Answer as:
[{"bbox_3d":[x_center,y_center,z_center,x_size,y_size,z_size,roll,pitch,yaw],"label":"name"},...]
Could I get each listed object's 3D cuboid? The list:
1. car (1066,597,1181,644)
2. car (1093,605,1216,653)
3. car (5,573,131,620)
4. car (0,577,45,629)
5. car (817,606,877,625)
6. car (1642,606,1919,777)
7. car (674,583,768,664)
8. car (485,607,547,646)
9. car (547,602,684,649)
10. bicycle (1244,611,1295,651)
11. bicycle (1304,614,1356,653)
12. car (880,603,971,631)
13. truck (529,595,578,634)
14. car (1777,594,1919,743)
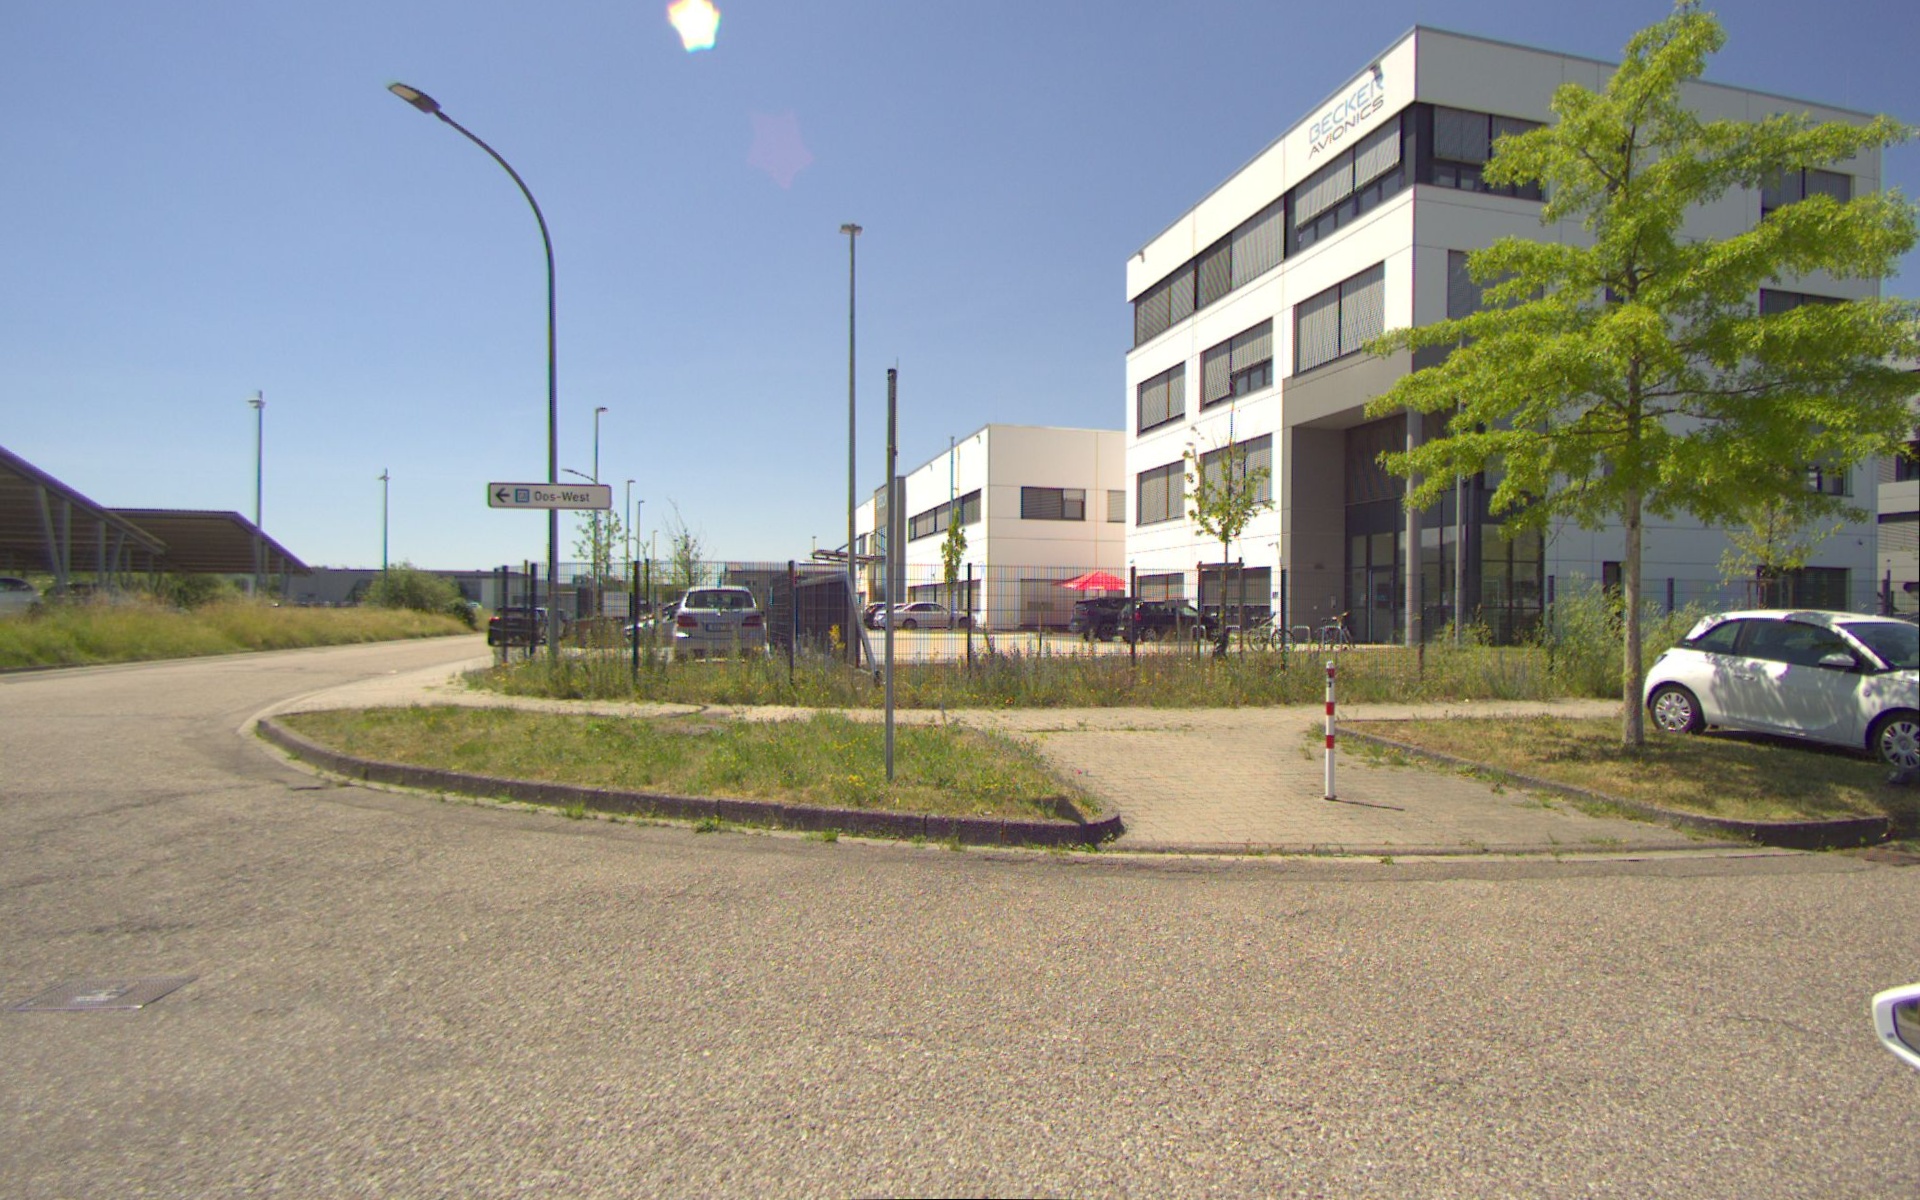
[{"bbox_3d":[6.137,0.775,37.878,3.934,1.706,1.776,0,0,-16],"label":"car"},{"bbox_3d":[6.852,1.017,35.506,3.934,1.624,1.776,0,0,-16],"label":"car"},{"bbox_3d":[-29.367,-0.089,33.210,1.696,1.455,3.762,0,-1,-18],"label":"car"},{"bbox_3d":[-27.627,0.087,28.003,1.696,1.455,3.762,0,-1,-18],"label":"car"},{"bbox_3d":[-8.119,1.119,72.180,4.095,1.357,1.776,0,0,-16],"label":"car"},{"bbox_3d":[9.234,0.847,10.258,1.698,1.460,3.505,0,1,-14],"label":"car"},{"bbox_3d":[-4.921,0.458,20.431,1.695,1.483,3.669,0,-1,-15],"label":"car"},{"bbox_3d":[-16.938,0.971,38.453,1.670,1.395,3.985,0,0,-17],"label":"car"},{"bbox_3d":[-11.788,0.859,34.639,4.330,1.535,1.694,0,0,-15],"label":"car"},{"bbox_3d":[7.971,0.789,25.927,0.454,0.995,1.592,0,0,-16],"label":"bicycle"},{"bbox_3d":[9.763,0.865,26.545,0.454,0.995,1.592,0,0,-16],"label":"bicycle"},{"bbox_3d":[-1.750,0.851,50.088,4.266,1.357,1.776,0,0,-16],"label":"car"},{"bbox_3d":[-22.491,0.773,55.746,2.133,2.040,5.076,0,0,-18],"label":"truck"},{"bbox_3d":[11.612,0.783,10.951,1.800,1.615,3.836,0,1,-17],"label":"car"}]
